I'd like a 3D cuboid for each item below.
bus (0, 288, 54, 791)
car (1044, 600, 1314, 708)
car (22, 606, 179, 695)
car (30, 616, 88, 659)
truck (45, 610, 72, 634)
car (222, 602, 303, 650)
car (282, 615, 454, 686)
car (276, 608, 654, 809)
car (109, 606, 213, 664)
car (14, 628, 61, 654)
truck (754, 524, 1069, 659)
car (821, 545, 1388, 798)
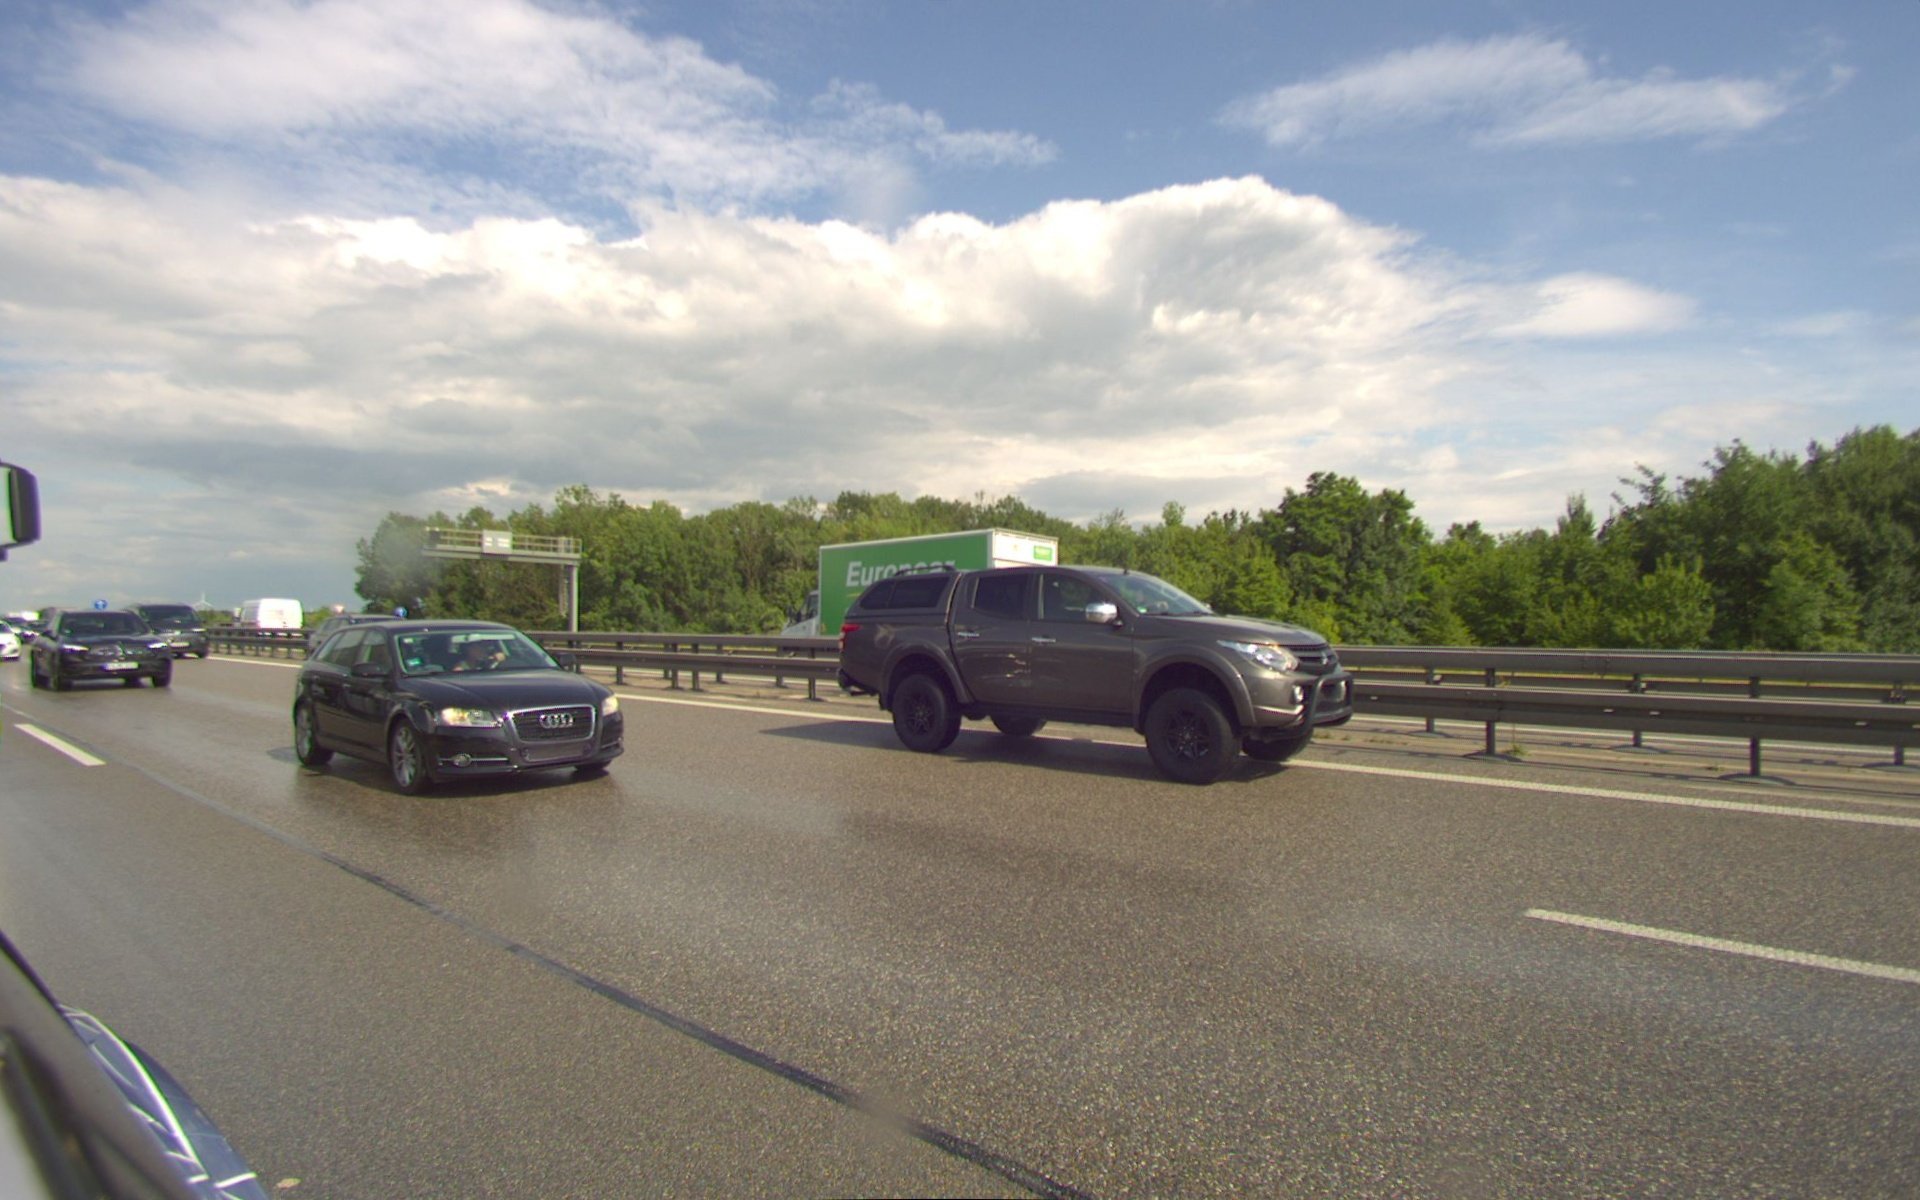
[{"bbox_3d":[-12.341,-0.412,10.772,9.841,4.159,2.867,-1,-1,41],"label":"bus"},{"bbox_3d":[3.704,0.854,17.529,4.243,1.655,1.748,-1,-1,39],"label":"car"},{"bbox_3d":[-18.379,1.000,21.566,4.623,1.692,1.857,-1,-1,41],"label":"car"},{"bbox_3d":[-35.684,1.466,40.059,2.829,1.609,1.391,-1,-1,41],"label":"car"},{"bbox_3d":[-153.386,3.759,172.169,8.920,3.913,2.762,-1,-1,44],"label":"truck"},{"bbox_3d":[-37.047,1.364,53.706,6.100,2.414,2.091,-1,-1,41],"label":"car"},{"bbox_3d":[-13.504,1.081,22.988,4.366,1.435,1.902,-1,-1,38],"label":"car"},{"bbox_3d":[-4.713,0.828,9.364,4.052,1.444,1.732,-1,-1,41],"label":"car"},{"bbox_3d":[-28.563,1.216,36.124,5.233,1.932,1.973,-1,-1,41],"label":"car"},{"bbox_3d":[-53.630,2.368,58.827,3.998,1.431,1.597,-1,-1,41],"label":"car"},{"bbox_3d":[-1.551,-0.153,26.638,8.717,3.009,2.886,-1,0,41],"label":"truck"},{"bbox_3d":[1.094,0.567,9.910,5.416,1.858,1.787,-1,-1,42],"label":"car"}]
